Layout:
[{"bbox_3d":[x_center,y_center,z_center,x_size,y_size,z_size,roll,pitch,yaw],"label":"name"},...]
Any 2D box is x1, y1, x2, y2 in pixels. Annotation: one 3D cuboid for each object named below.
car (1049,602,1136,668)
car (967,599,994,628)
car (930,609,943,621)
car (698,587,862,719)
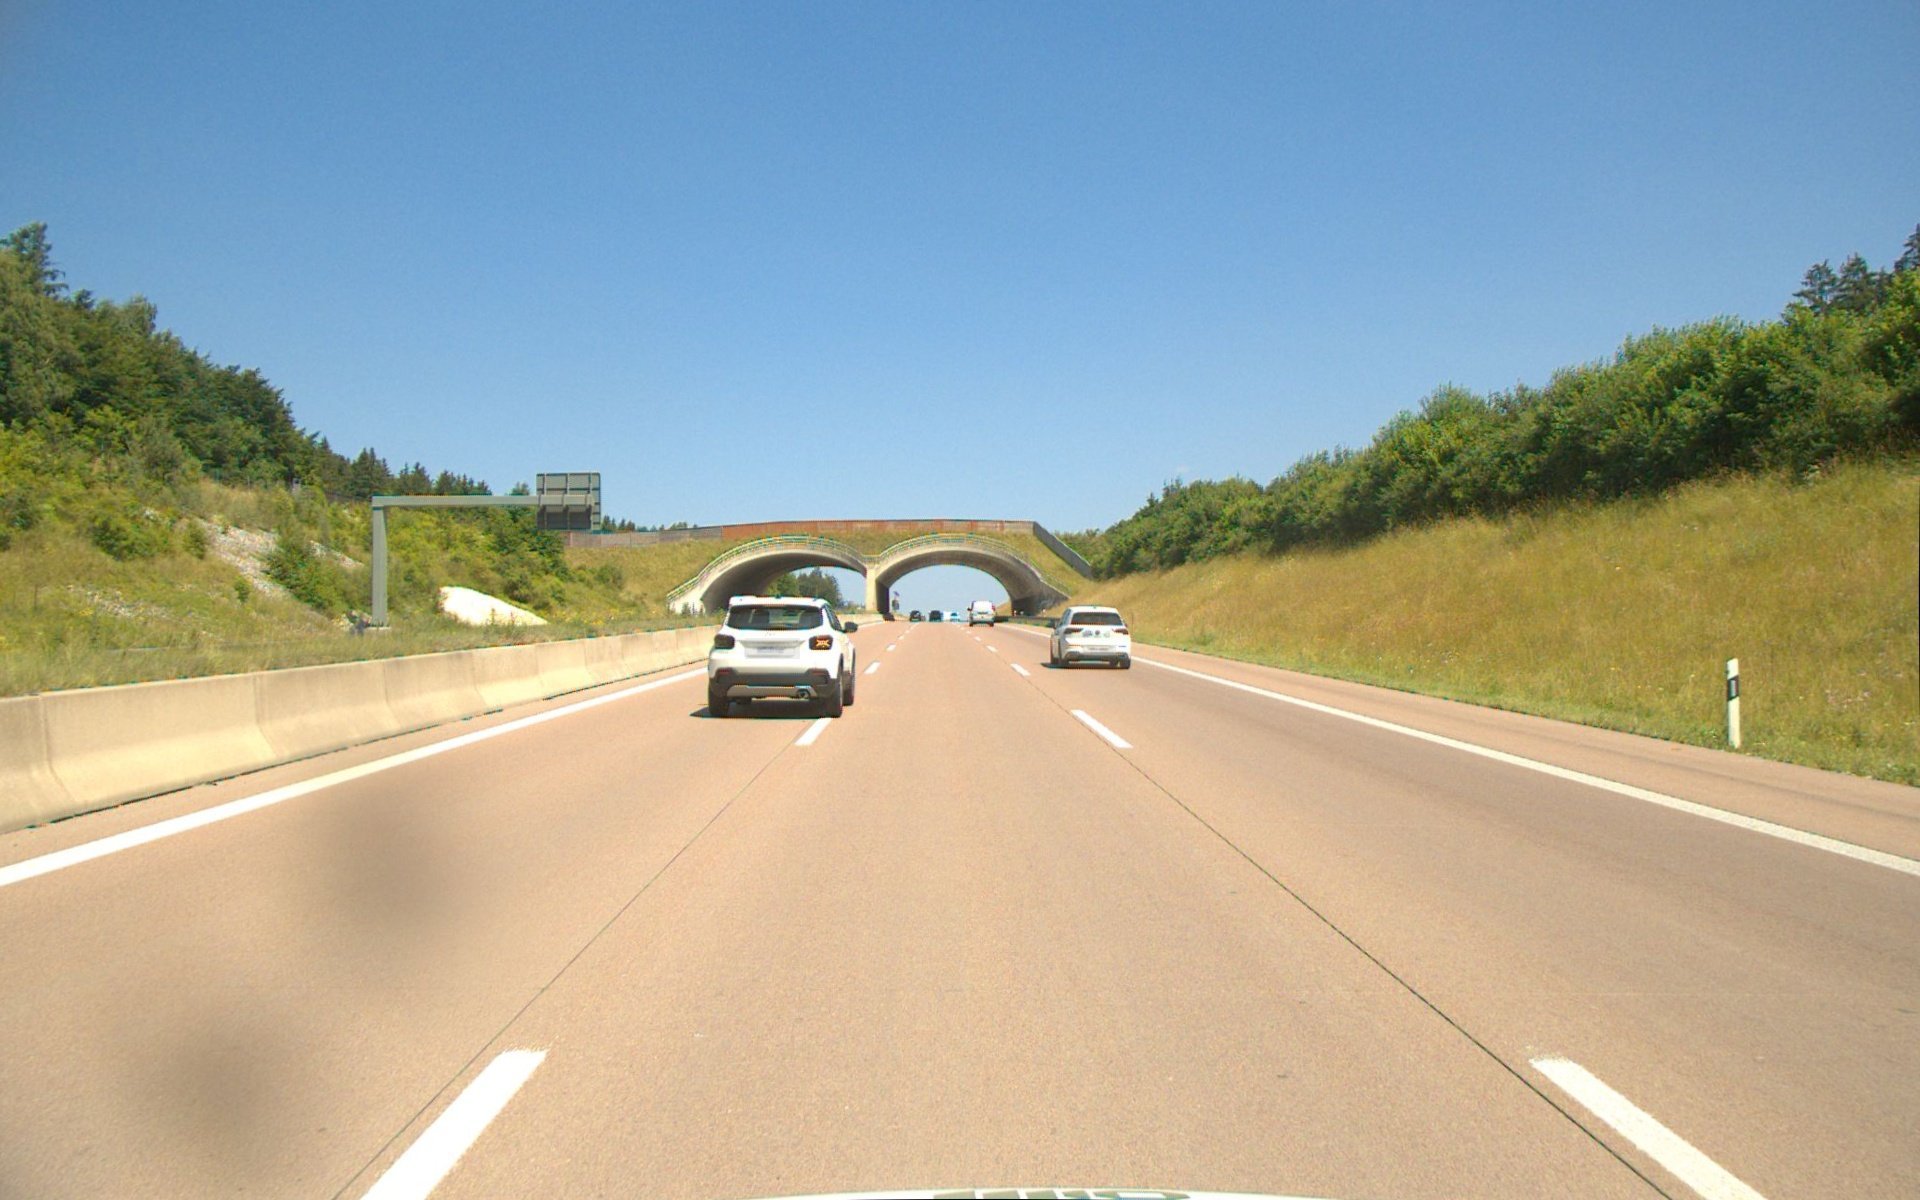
[{"bbox_3d":[3.180,0.816,40.407,1.852,1.422,4.001,1,1,1],"label":"car"},{"bbox_3d":[1.594,1.045,127.768,2.067,2.089,4.001,0,1,1],"label":"car"},{"bbox_3d":[-3.427,2.151,238.067,1.852,1.489,3.999,1,0,-1],"label":"car"},{"bbox_3d":[-2.400,0.655,23.119,1.841,1.635,4.833,0,0,-1],"label":"car"}]
